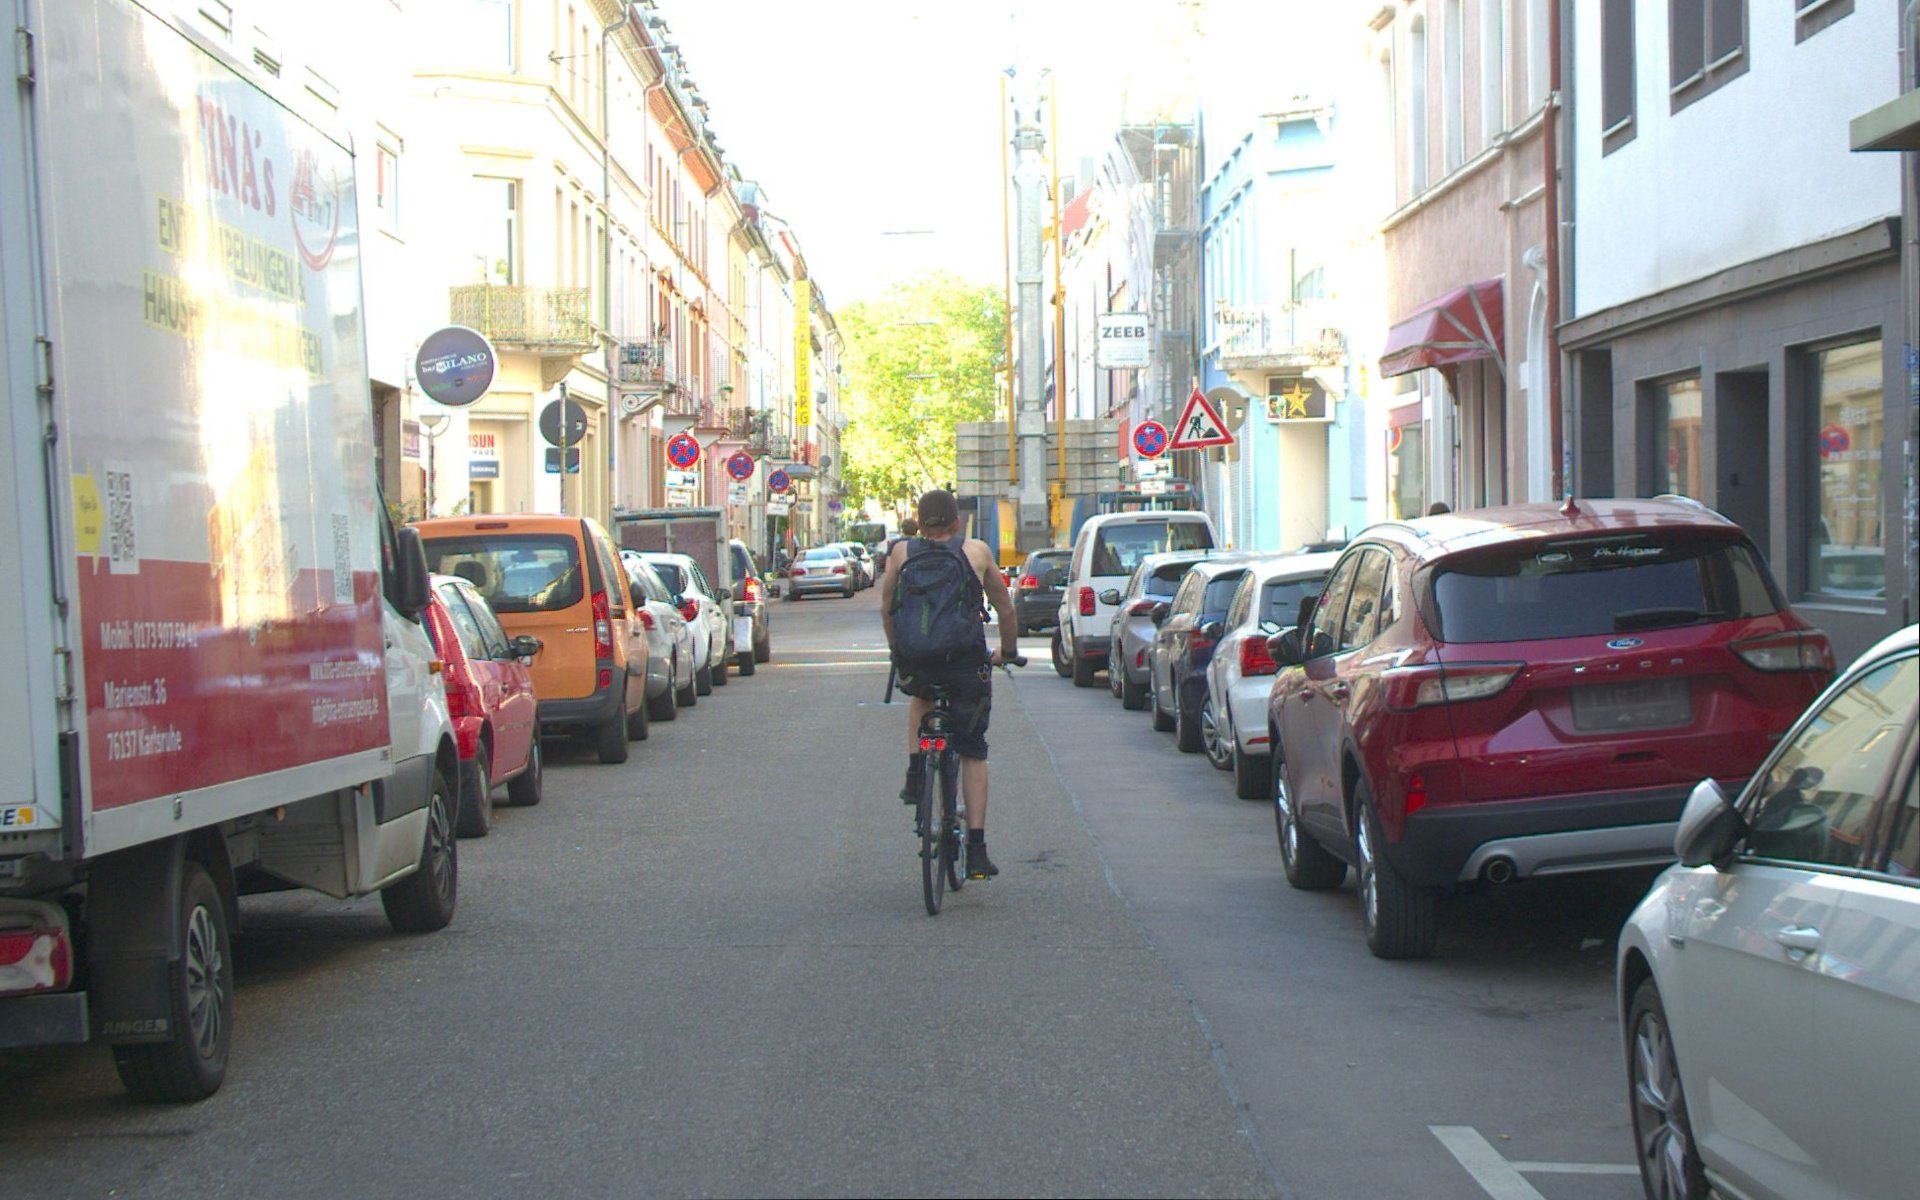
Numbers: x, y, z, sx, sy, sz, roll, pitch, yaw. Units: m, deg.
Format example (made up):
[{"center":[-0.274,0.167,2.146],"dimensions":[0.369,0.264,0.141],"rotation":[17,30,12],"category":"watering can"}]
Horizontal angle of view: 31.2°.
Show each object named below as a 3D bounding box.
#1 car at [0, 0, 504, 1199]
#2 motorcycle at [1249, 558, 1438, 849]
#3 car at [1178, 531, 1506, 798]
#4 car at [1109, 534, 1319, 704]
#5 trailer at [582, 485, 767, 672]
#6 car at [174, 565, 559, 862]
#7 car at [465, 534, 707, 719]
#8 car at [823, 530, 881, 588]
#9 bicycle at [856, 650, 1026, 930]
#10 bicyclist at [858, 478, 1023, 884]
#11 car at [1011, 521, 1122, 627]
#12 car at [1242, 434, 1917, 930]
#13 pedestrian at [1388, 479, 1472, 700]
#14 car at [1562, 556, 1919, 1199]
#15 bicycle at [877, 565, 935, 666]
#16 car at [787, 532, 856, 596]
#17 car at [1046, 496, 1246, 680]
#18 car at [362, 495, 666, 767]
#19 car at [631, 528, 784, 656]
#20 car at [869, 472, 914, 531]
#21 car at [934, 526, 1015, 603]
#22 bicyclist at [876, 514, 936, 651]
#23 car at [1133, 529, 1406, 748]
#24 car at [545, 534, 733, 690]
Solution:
[{"center":[-3.236,-0.222,11.395],"dimensions":[2.343,3.280,7.154],"rotation":[-2,1,0],"category":"car"},{"center":[2.067,0.517,18.840],"dimensions":[0.747,1.485,2.422],"rotation":[1,1,0],"category":"motorcycle"},{"center":[2.401,0.363,22.418],"dimensions":[1.667,1.500,3.816],"rotation":[-3,1,1],"category":"car"},{"center":[2.366,0.149,32.827],"dimensions":[1.750,1.481,3.800],"rotation":[-1,1,1],"category":"car"},{"center":[-3.362,-0.263,41.095],"dimensions":[1.882,2.085,3.737],"rotation":[-2,1,-1],"category":"trailer"},{"center":[-3.347,0.581,19.963],"dimensions":[1.578,1.478,3.565],"rotation":[-3,1,-1],"category":"car"},{"center":[-3.350,0.199,31.475],"dimensions":[1.750,1.532,4.319],"rotation":[-2,1,-1],"category":"car"},{"center":[-3.505,-1.328,111.984],"dimensions":[1.750,1.815,3.796],"rotation":[-2,1,-1],"category":"car"},{"center":[-0.093,0.778,14.789],"dimensions":[0.677,1.071,1.942],"rotation":[1,1,-1],"category":"bicycle"},{"center":[-0.089,0.330,14.725],"dimensions":[0.667,1.671,1.097],"rotation":[1,0,-1],"category":"bicyclist"},{"center":[1.679,-0.421,55.200],"dimensions":[1.611,1.628,3.610],"rotation":[1,1,-1],"category":"car"},{"center":[2.341,0.244,14.175],"dimensions":[1.918,1.700,4.366],"rotation":[-1,1,-1],"category":"car"},{"center":[4.318,-0.101,31.639],"dimensions":[0.644,2.007,0.764],"rotation":[1,0,-1],"category":"pedestrian"},{"center":[2.325,0.687,6.086],"dimensions":[1.686,1.538,4.046],"rotation":[-2,1,-1],"category":"car"},{"center":[-0.620,0.165,39.687],"dimensions":[0.648,1.125,2.136],"rotation":[1,1,-1],"category":"bicycle"},{"center":[-3.799,-1.000,94.563],"dimensions":[1.750,1.678,3.796],"rotation":[-2,1,-1],"category":"car"},{"center":[1.992,-0.149,37.887],"dimensions":[1.750,1.872,3.973],"rotation":[-2,1,-3],"category":"car"},{"center":[-3.257,0.195,25.817],"dimensions":[1.752,1.810,4.078],"rotation":[-3,1,-1],"category":"car"},{"center":[-3.294,-0.123,45.412],"dimensions":[1.750,1.567,3.796],"rotation":[-2,1,-1],"category":"car"},{"center":[-2.789,-4.019,141.327],"dimensions":[1.750,2.310,3.796],"rotation":[-1,1,-1],"category":"car"},{"center":[0.283,-0.736,71.516],"dimensions":[1.611,1.555,3.610],"rotation":[1,1,-1],"category":"car"},{"center":[-0.622,-0.207,39.639],"dimensions":[0.671,1.562,0.716],"rotation":[1,0,-1],"category":"bicyclist"},{"center":[2.361,0.260,27.084],"dimensions":[1.646,1.470,3.971],"rotation":[-4,1,-1],"category":"car"},{"center":[-3.340,0.101,36.315],"dimensions":[1.653,1.532,3.634],"rotation":[-2,1,-1],"category":"car"}]
